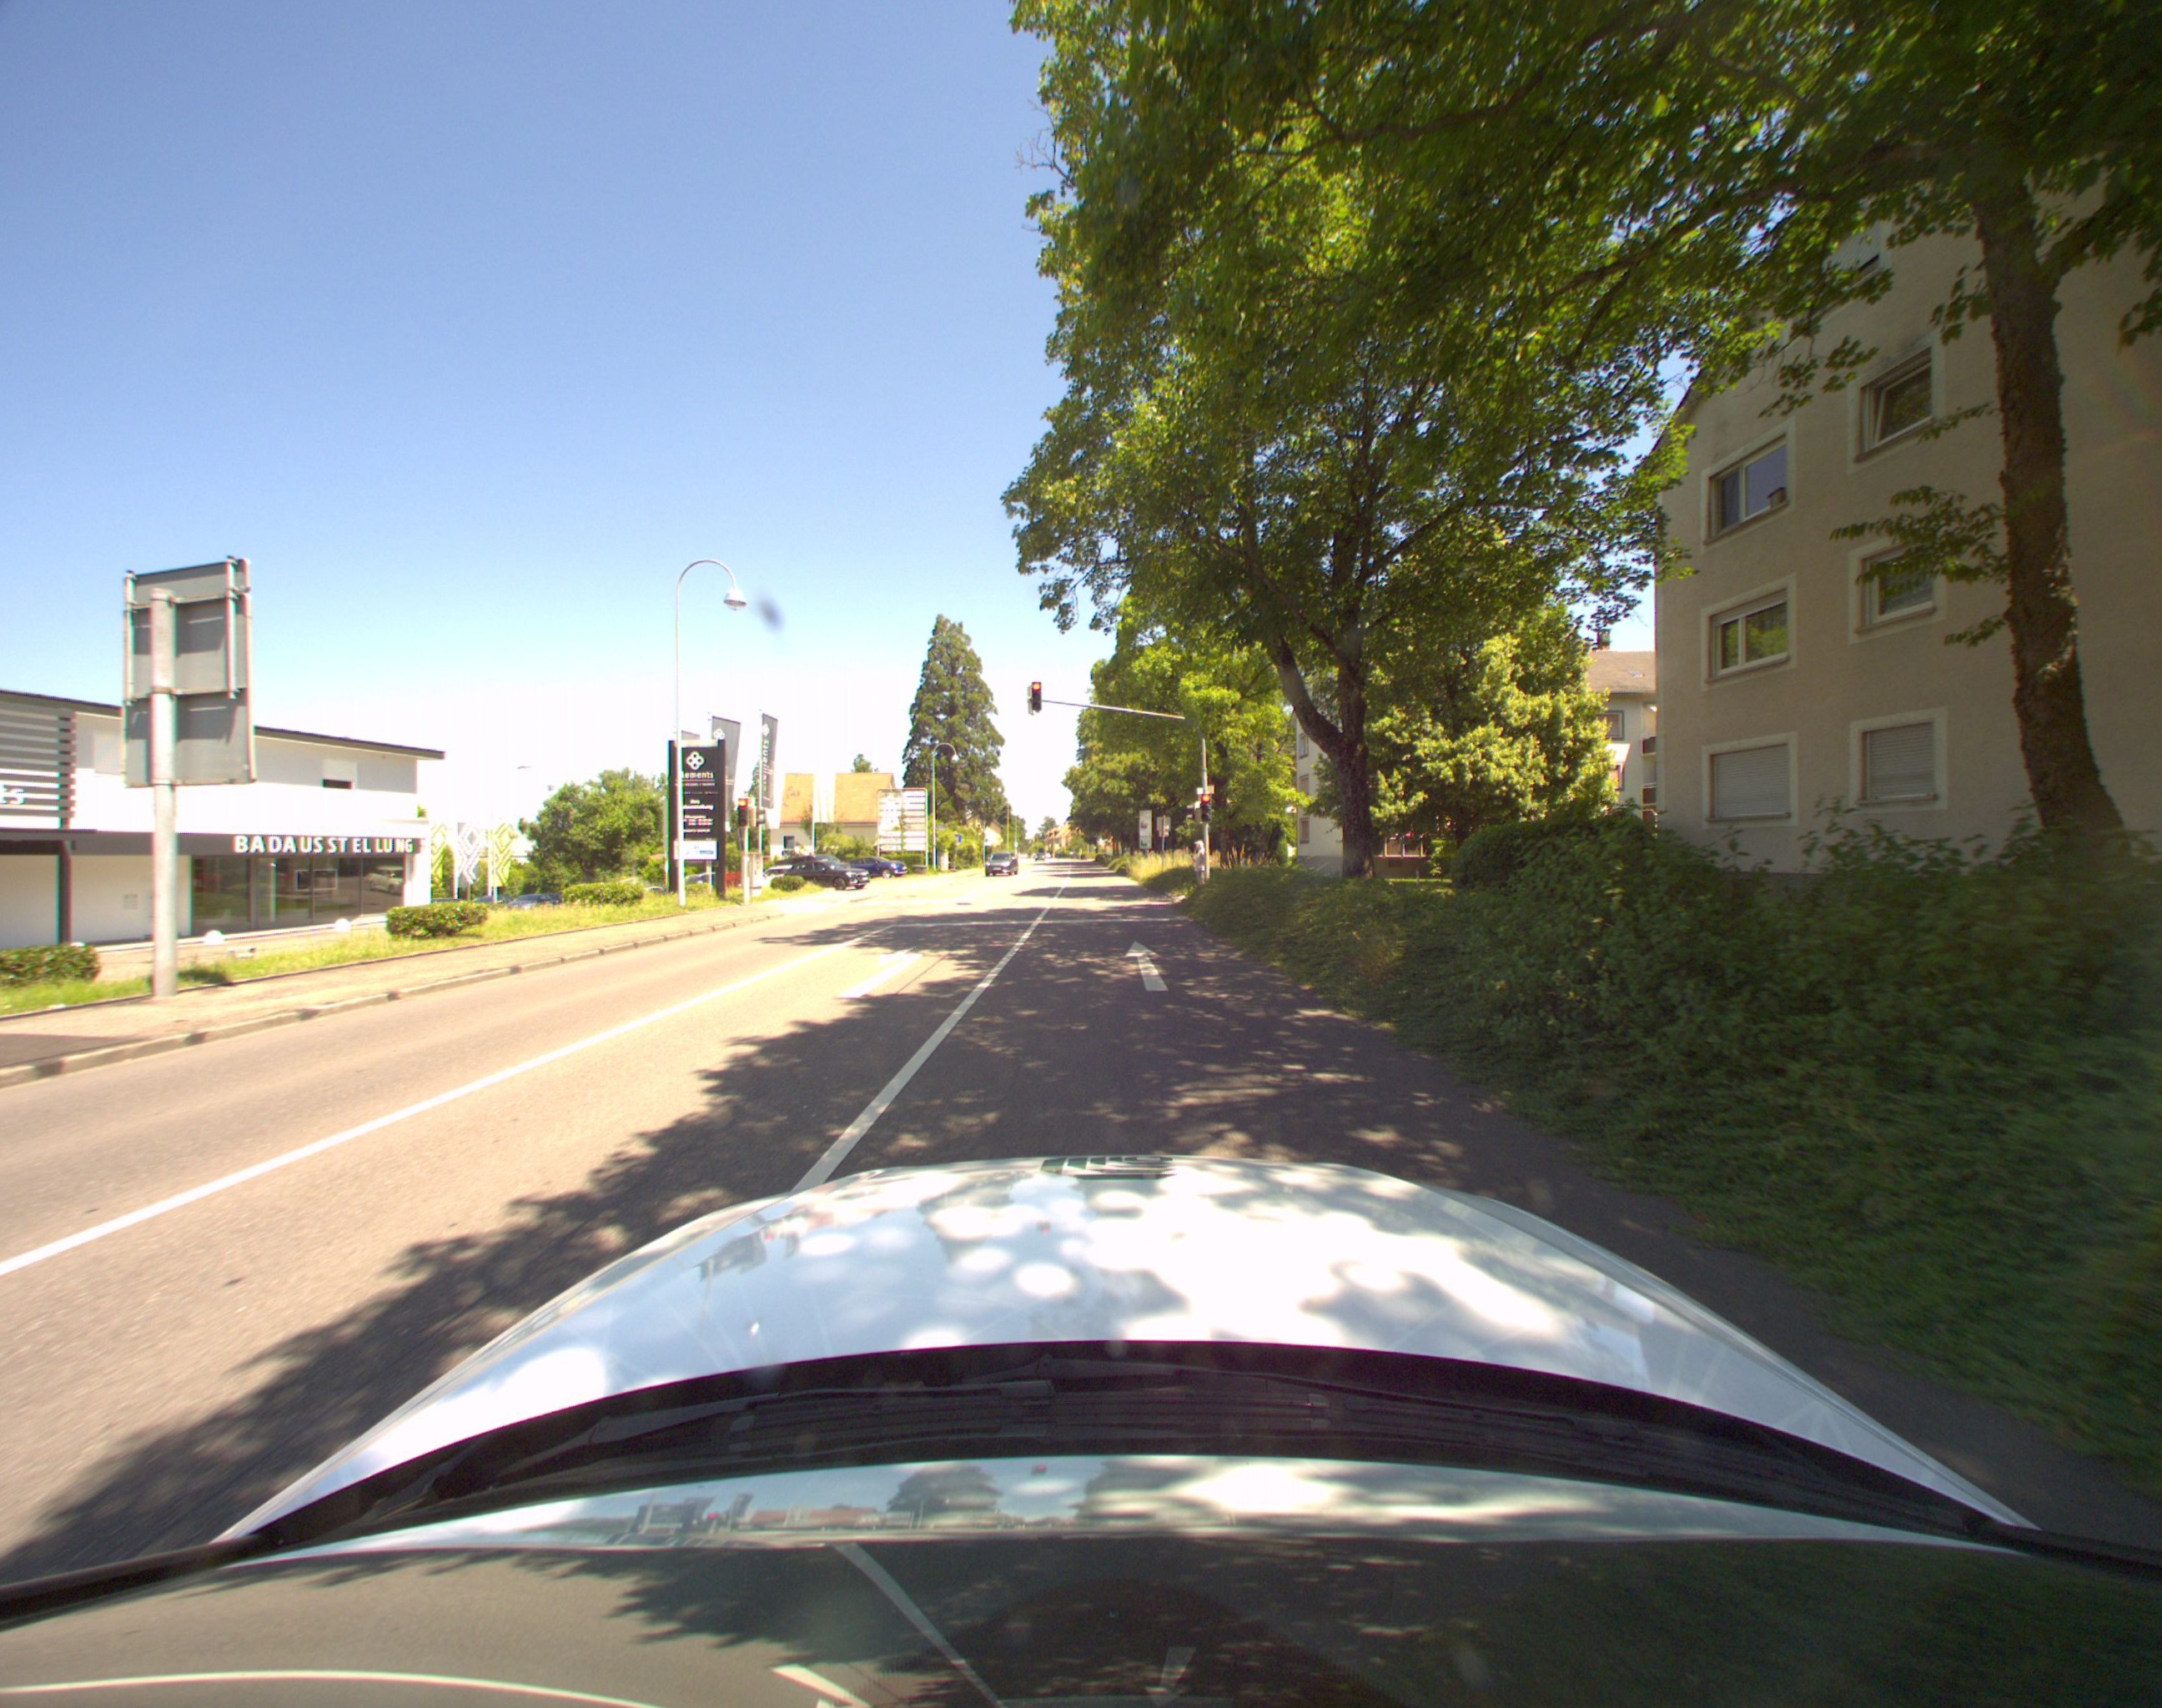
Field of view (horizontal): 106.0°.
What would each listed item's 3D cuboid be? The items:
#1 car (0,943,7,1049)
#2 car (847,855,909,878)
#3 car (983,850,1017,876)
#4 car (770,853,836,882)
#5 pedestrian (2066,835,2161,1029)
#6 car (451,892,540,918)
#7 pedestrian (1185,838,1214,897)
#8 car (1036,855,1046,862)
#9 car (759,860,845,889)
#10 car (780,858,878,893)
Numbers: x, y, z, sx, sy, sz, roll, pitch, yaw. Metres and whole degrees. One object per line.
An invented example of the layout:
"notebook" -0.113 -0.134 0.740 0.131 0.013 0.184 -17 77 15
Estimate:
"car" -16.476 1.969 10.429 3.321 1.423 1.783 -1 0 5
"car" -12.994 0.787 52.105 3.471 1.427 1.604 -1 0 8
"car" -5.614 0.576 56.922 1.872 1.717 4.311 -1 0 1
"car" -16.987 0.814 49.880 3.485 1.617 1.598 -2 0 -5
"pedestrian" 7.757 0.533 5.690 0.659 1.335 0.889 -1 -1 2
"car" -34.753 3.025 48.407 3.973 1.413 1.757 -1 -1 1
"pedestrian" 3.530 0.400 24.253 0.564 1.751 0.608 0 -1 -36
"car" -7.349 0.876 149.710 1.425 1.322 3.356 -1 0 2
"car" -15.398 1.100 44.965 4.315 1.487 1.984 -1 0 -24
"car" -12.477 1.047 40.348 4.258 1.526 1.938 -3 -1 18
